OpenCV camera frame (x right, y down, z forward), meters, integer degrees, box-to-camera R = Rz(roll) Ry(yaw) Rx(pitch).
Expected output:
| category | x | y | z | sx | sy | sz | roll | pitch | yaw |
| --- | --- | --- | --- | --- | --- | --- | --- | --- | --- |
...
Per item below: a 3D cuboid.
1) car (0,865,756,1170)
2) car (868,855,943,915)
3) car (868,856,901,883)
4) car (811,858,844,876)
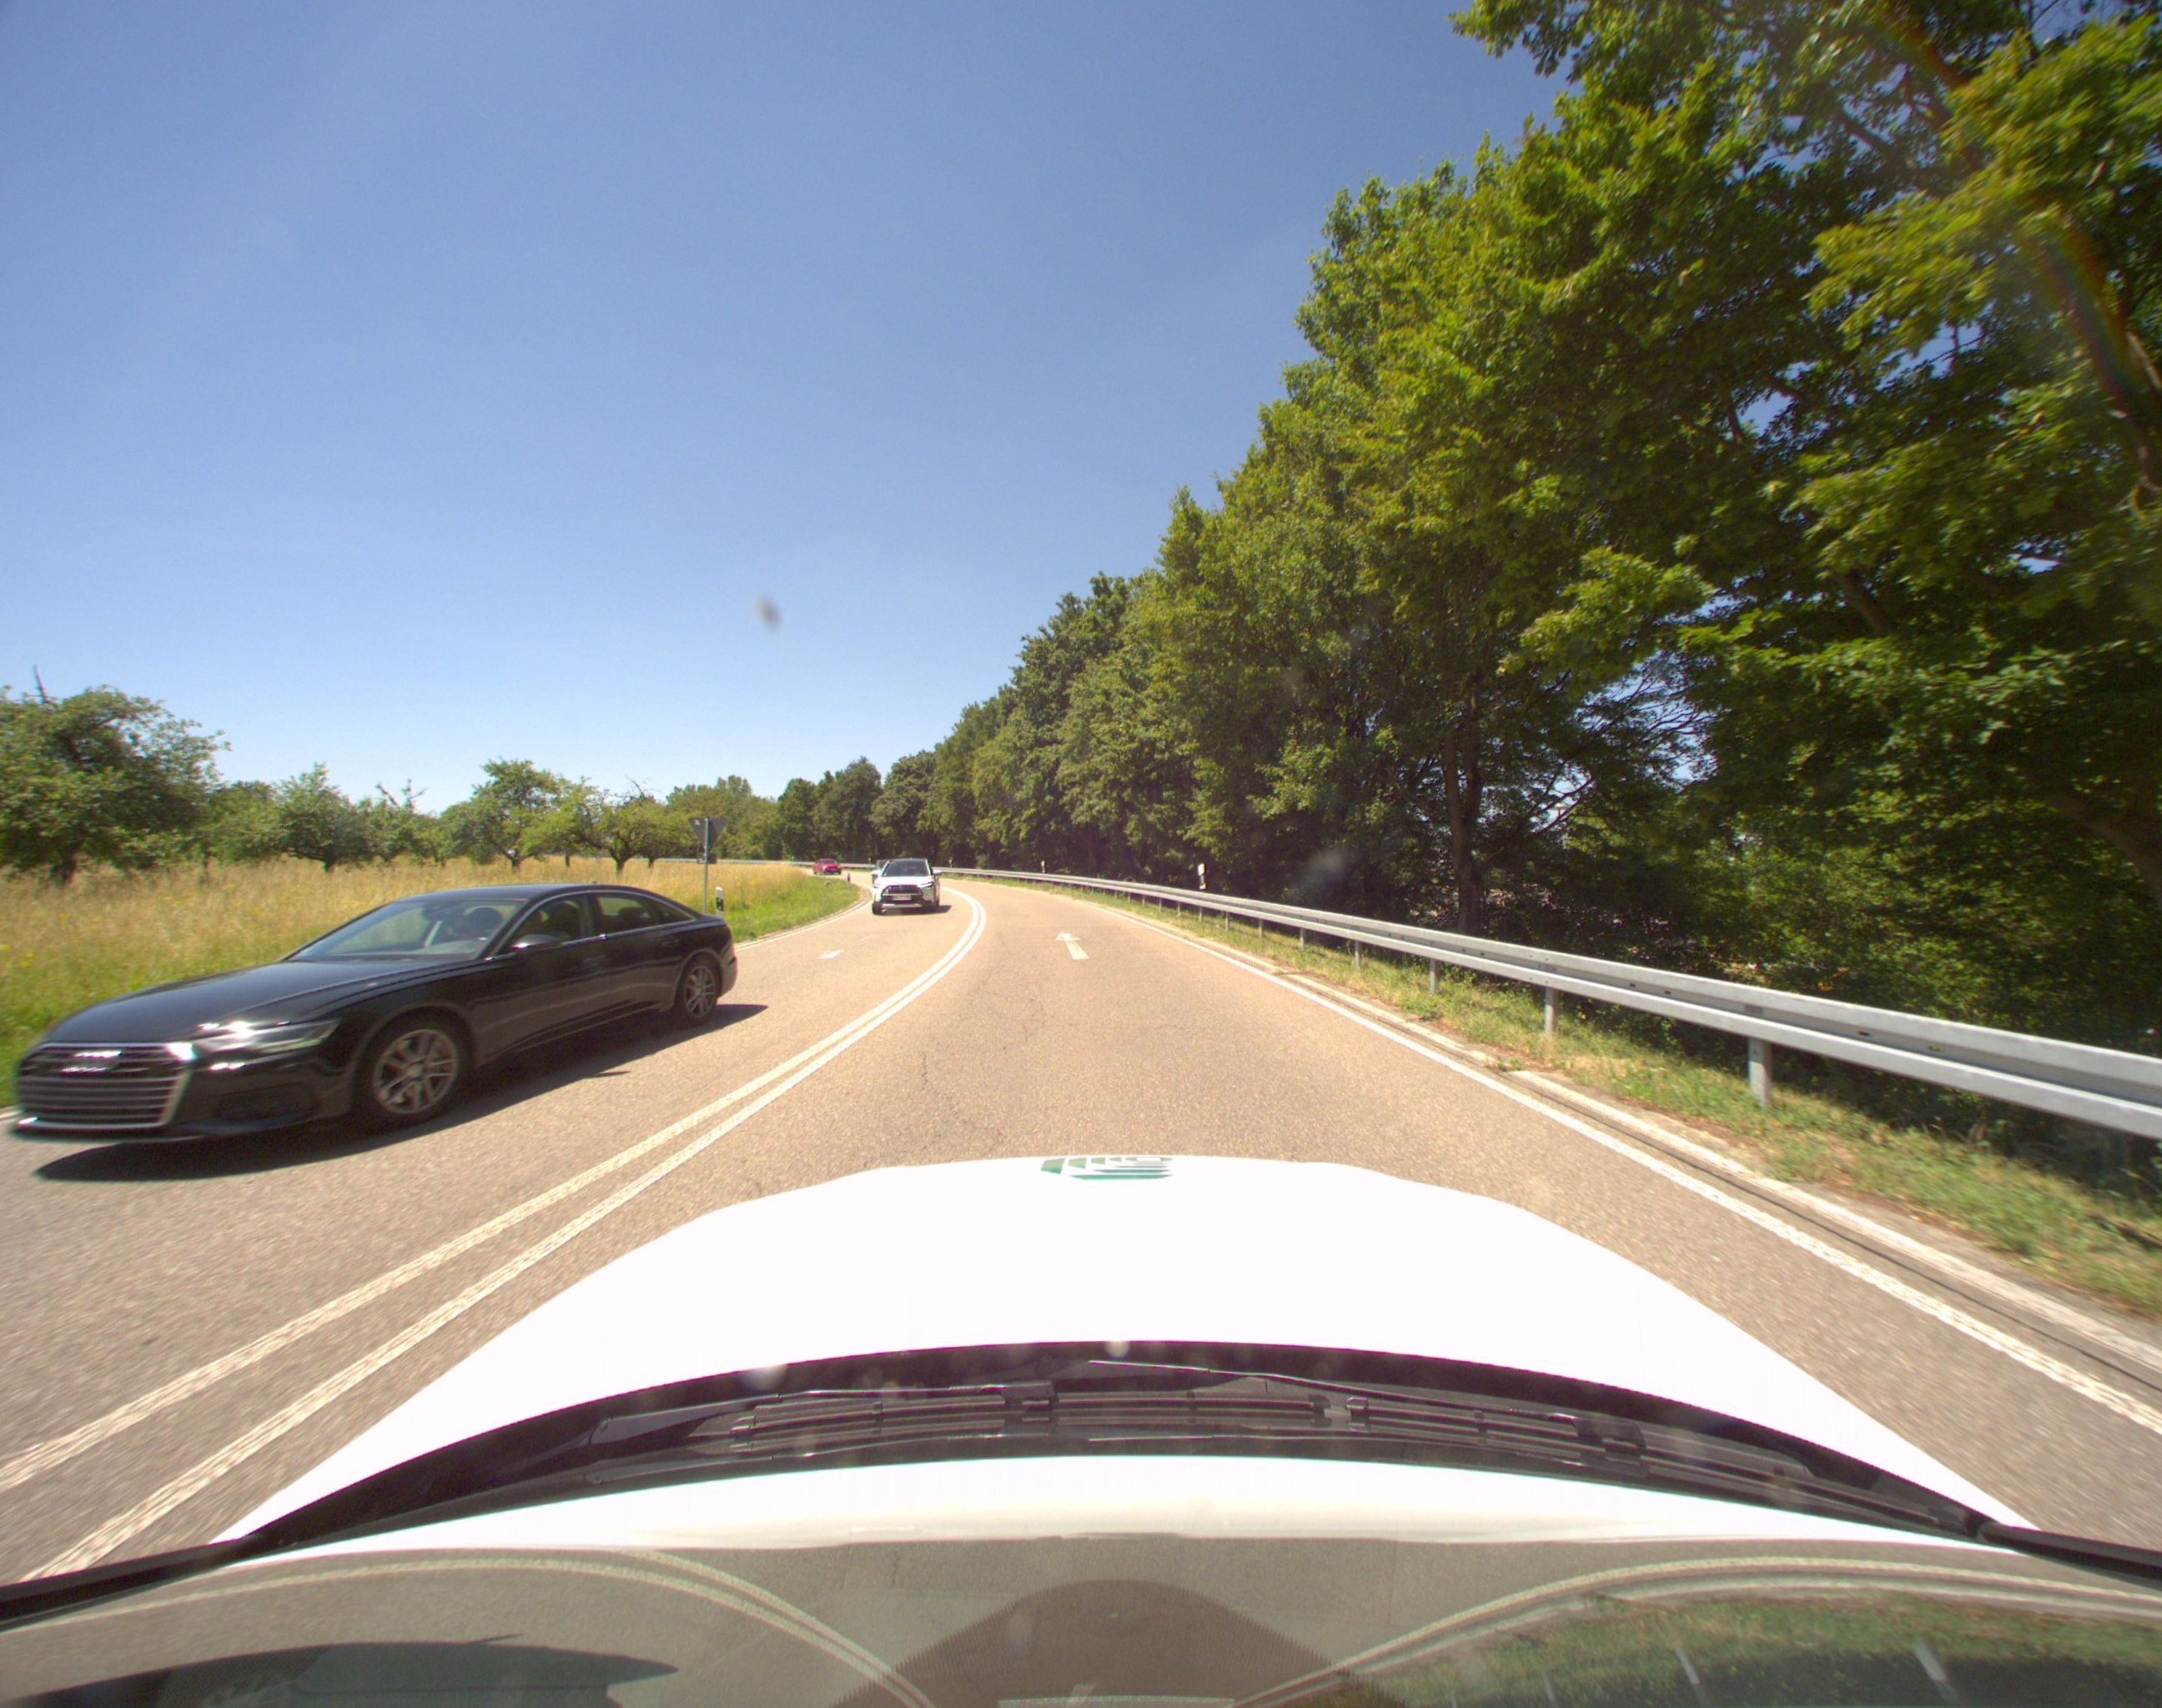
| category | x | y | z | sx | sy | sz | roll | pitch | yaw |
| --- | --- | --- | --- | --- | --- | --- | --- | --- | --- |
| car | -4.693 | 0.898 | 6.573 | 1.793 | 1.507 | 4.666 | -3 | -1 | 6 |
| car | -5.266 | 0.918 | 24.926 | 1.821 | 1.590 | 4.206 | -3 | -1 | -8 |
| car | -11.983 | 0.971 | 49.539 | 1.738 | 1.507 | 4.050 | -3 | -1 | -16 |
| car | -23.335 | 1.201 | 74.974 | 1.835 | 1.458 | 4.355 | -3 | -1 | -32 |
